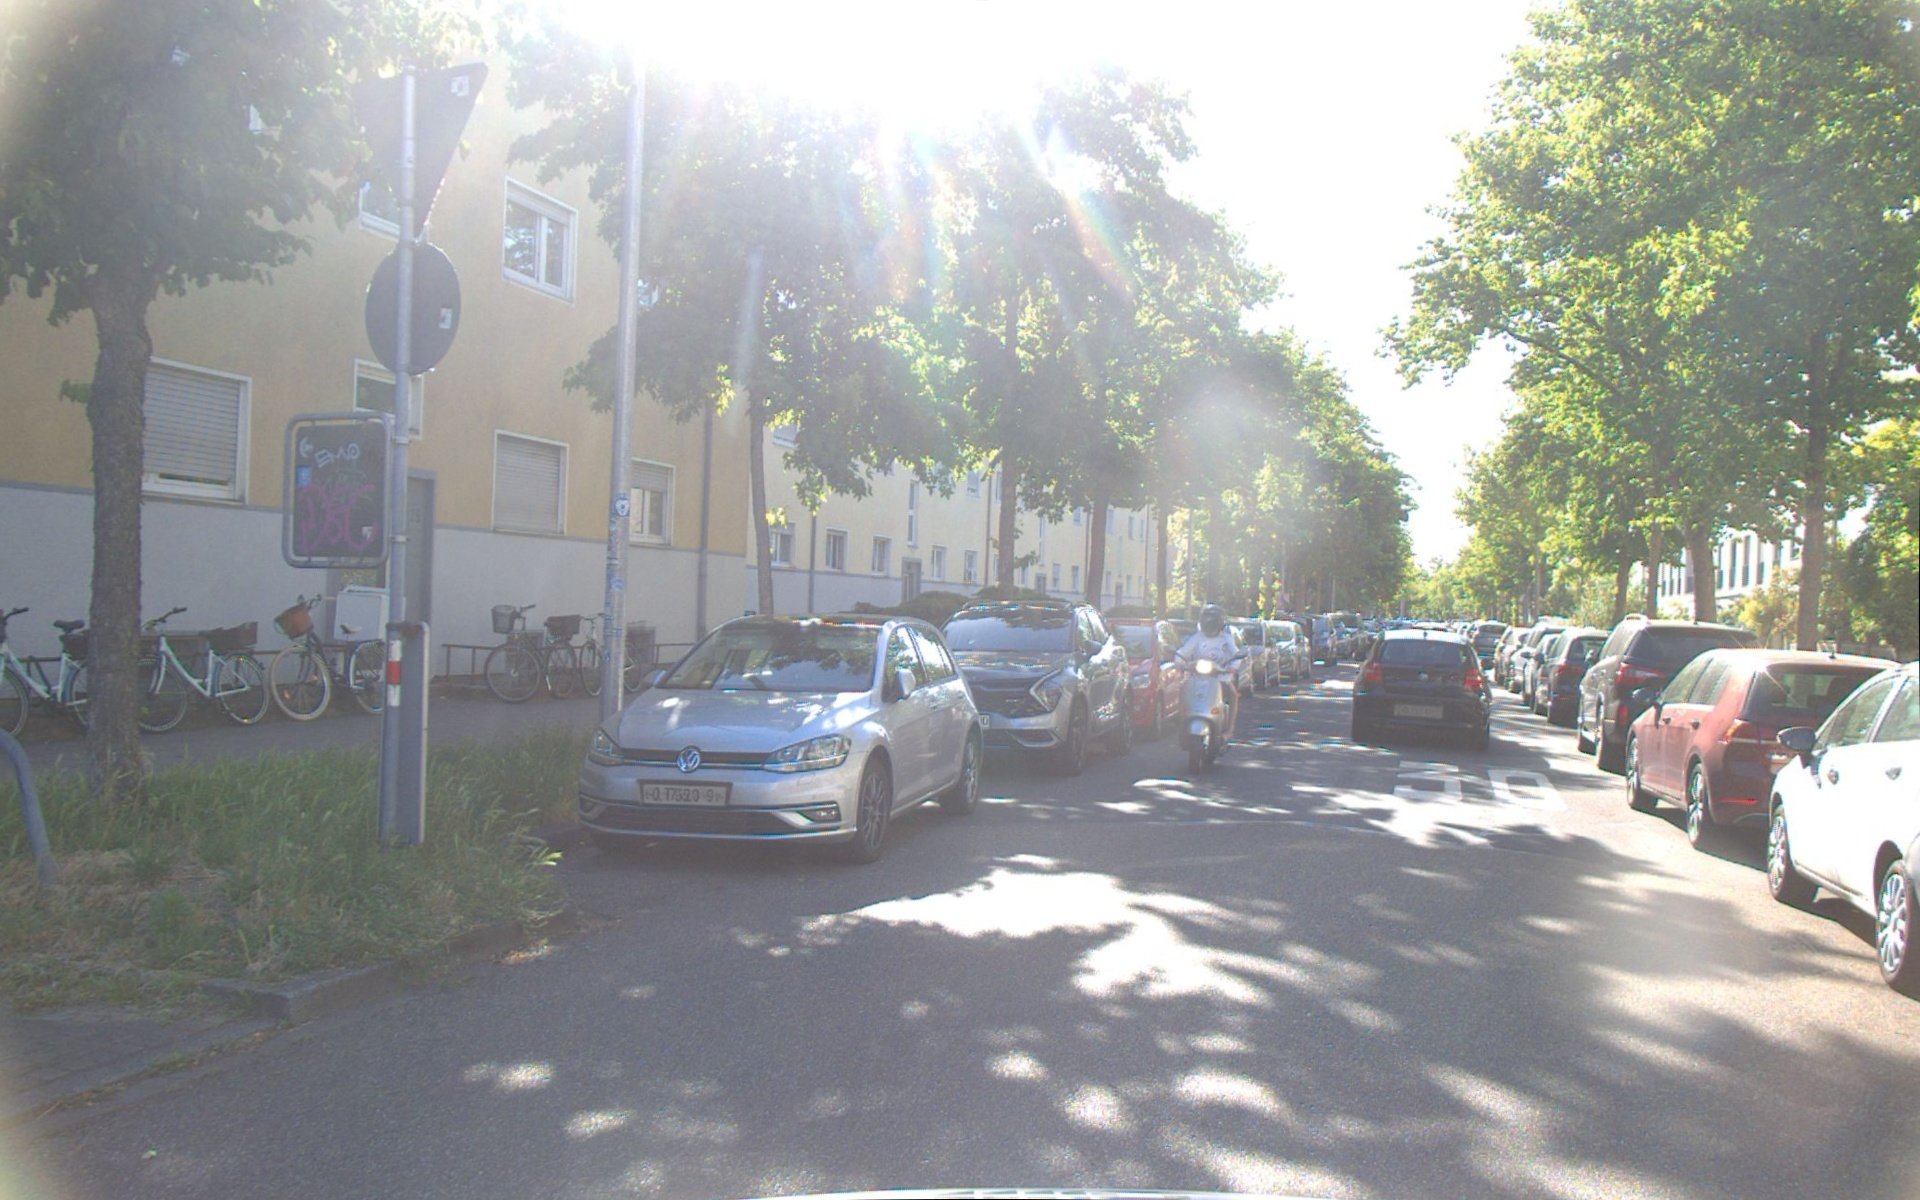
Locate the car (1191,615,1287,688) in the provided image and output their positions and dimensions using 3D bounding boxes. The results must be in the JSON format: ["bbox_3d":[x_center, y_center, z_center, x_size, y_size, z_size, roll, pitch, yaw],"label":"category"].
[{"bbox_3d":[6.330,1.124,37.226,1.586,1.542,4.271,0,-1,17],"label":"car"}]

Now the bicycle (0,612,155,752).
[{"bbox_3d":[-7.090,0.613,12.872,0.425,1.018,1.682,2,0,16],"label":"bicycle"}]

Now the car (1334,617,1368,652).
[{"bbox_3d":[19.520,1.706,82.581,1.578,1.639,4.233,1,-1,14],"label":"car"}]

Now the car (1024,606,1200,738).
[{"bbox_3d":[2.043,0.875,21.473,1.630,1.512,3.258,2,0,16],"label":"car"}]

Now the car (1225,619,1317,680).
[{"bbox_3d":[8.059,1.228,42.573,1.754,1.470,4.690,0,-1,18],"label":"car"}]

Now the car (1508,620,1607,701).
[{"bbox_3d":[13.563,1.330,37.717,1.613,1.684,3.850,2,0,13],"label":"car"}]

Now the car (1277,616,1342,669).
[{"bbox_3d":[11.774,1.393,55.560,1.810,1.710,4.979,-1,-1,16],"label":"car"}]

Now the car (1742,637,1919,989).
[{"bbox_3d":[5.275,0.957,8.411,1.618,1.426,4.138,2,0,15],"label":"car"}]

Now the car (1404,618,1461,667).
[{"bbox_3d":[15.037,1.313,52.789,1.614,1.450,4.004,2,0,14],"label":"car"}]

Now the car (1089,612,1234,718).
[{"bbox_3d":[3.271,0.966,26.221,1.630,1.484,3.935,2,0,16],"label":"car"}]

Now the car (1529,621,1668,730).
[{"bbox_3d":[11.030,1.239,28.826,1.649,1.615,4.539,4,0,15],"label":"car"}]

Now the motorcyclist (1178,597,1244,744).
[{"bbox_3d":[2.523,0.696,16.607,0.541,1.427,0.520,2,0,16],"label":"motorcyclist"}]

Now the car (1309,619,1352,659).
[{"bbox_3d":[15.057,1.556,67.063,1.475,1.576,4.781,0,-1,16],"label":"car"}]

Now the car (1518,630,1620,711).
[{"bbox_3d":[12.189,1.364,33.277,1.595,1.450,4.370,1,0,16],"label":"car"}]

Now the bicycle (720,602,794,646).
[{"bbox_3d":[-4.658,0.543,37.969,1.597,0.947,0.481,2,0,8],"label":"bicycle"}]

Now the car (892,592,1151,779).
[{"bbox_3d":[0.798,0.773,17.060,1.655,1.592,4.739,2,0,14],"label":"car"}]

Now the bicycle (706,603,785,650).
[{"bbox_3d":[-4.643,0.571,35.826,1.597,0.947,0.481,2,0,14],"label":"bicycle"}]

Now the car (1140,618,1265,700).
[{"bbox_3d":[4.690,1.074,31.516,1.708,1.393,4.677,1,0,16],"label":"car"}]

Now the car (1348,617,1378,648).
[{"bbox_3d":[23.878,1.910,97.823,1.578,1.708,4.237,1,-1,15],"label":"car"}]

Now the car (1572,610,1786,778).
[{"bbox_3d":[8.511,1.026,19.910,1.743,1.728,4.300,2,0,16],"label":"car"}]

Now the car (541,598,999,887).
[{"bbox_3d":[-1.008,0.771,10.894,1.722,1.467,3.997,2,0,13],"label":"car"}]

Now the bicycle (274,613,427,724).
[{"bbox_3d":[-5.954,0.649,16.239,0.504,1.018,1.545,2,0,19],"label":"bicycle"}]

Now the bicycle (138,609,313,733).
[{"bbox_3d":[-6.471,0.602,14.653,0.501,1.018,1.545,2,0,16],"label":"bicycle"}]

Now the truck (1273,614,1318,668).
[{"bbox_3d":[10.386,1.249,51.140,1.061,1.605,2.432,2,0,18],"label":"truck"}]

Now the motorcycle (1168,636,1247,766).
[{"bbox_3d":[2.493,0.974,16.560,0.541,1.195,1.633,2,0,16],"label":"motorcycle"}]

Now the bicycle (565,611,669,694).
[{"bbox_3d":[-4.547,0.687,22.027,0.524,1.044,1.749,2,0,18],"label":"bicycle"}]

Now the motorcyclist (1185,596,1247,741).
[{"bbox_3d":[2.644,0.695,17.083,0.532,1.451,0.404,2,0,16],"label":"motorcyclist"}]

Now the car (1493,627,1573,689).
[{"bbox_3d":[14.752,1.468,42.706,1.614,1.453,3.615,1,0,14],"label":"car"}]

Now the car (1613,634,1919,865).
[{"bbox_3d":[6.418,1.038,13.120,1.577,1.434,4.355,2,0,12],"label":"car"}]

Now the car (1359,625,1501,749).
[{"bbox_3d":[6.119,1.064,21.609,1.614,1.421,3.413,2,0,16],"label":"car"}]

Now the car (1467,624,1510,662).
[{"bbox_3d":[25.001,2.020,78.287,1.809,1.659,4.412,3,-1,18],"label":"car"}]

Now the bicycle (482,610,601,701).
[{"bbox_3d":[-5.072,0.657,20.165,0.529,1.044,1.749,2,0,18],"label":"bicycle"}]

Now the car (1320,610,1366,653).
[{"bbox_3d":[17.931,1.469,77.297,1.788,1.938,5.144,1,-1,17],"label":"car"}]
